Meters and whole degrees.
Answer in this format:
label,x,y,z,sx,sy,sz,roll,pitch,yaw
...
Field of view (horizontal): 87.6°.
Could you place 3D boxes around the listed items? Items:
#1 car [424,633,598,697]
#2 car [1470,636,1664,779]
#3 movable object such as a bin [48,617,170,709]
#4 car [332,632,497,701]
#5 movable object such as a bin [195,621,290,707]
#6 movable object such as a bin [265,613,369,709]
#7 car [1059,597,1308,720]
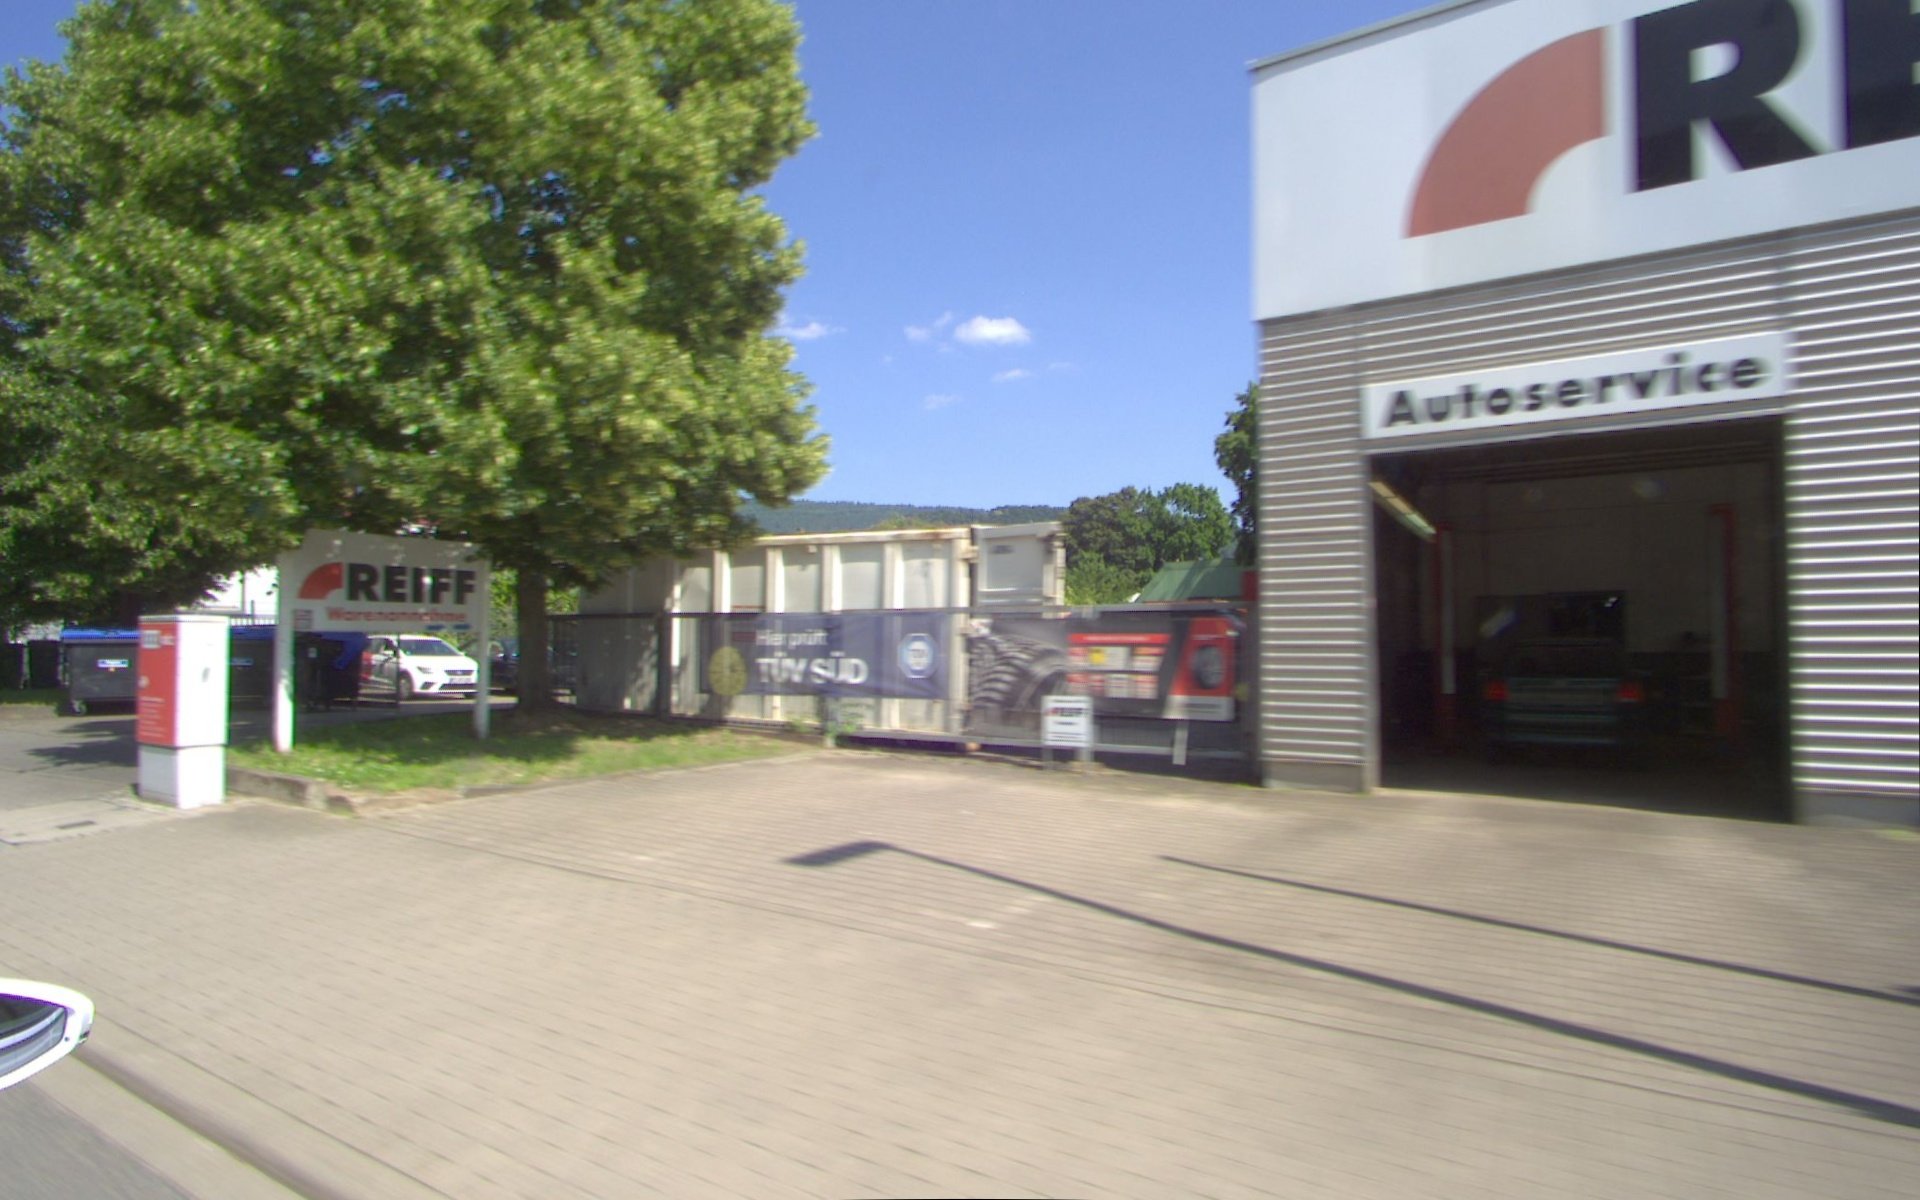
label,x,y,z,sx,sy,sz,roll,pitch,yaw
car,-11.758,1.639,26.108,4.700,1.396,1.884,1,-1,33
car,7.056,1.145,11.963,1.698,1.393,3.761,0,-2,27
movable object such as a bin,-13.992,1.037,16.523,1.370,1.448,0.985,1,-4,-33
car,-12.905,1.517,23.640,3.943,1.478,1.740,-1,-2,33
movable object such as a bin,-12.642,1.127,17.697,1.303,1.448,0.880,1,-4,-33
movable object such as a bin,-10.964,1.042,17.091,1.301,1.565,0.978,-2,-3,29
car,3.988,1.001,17.997,3.943,1.952,1.829,1,-3,33
